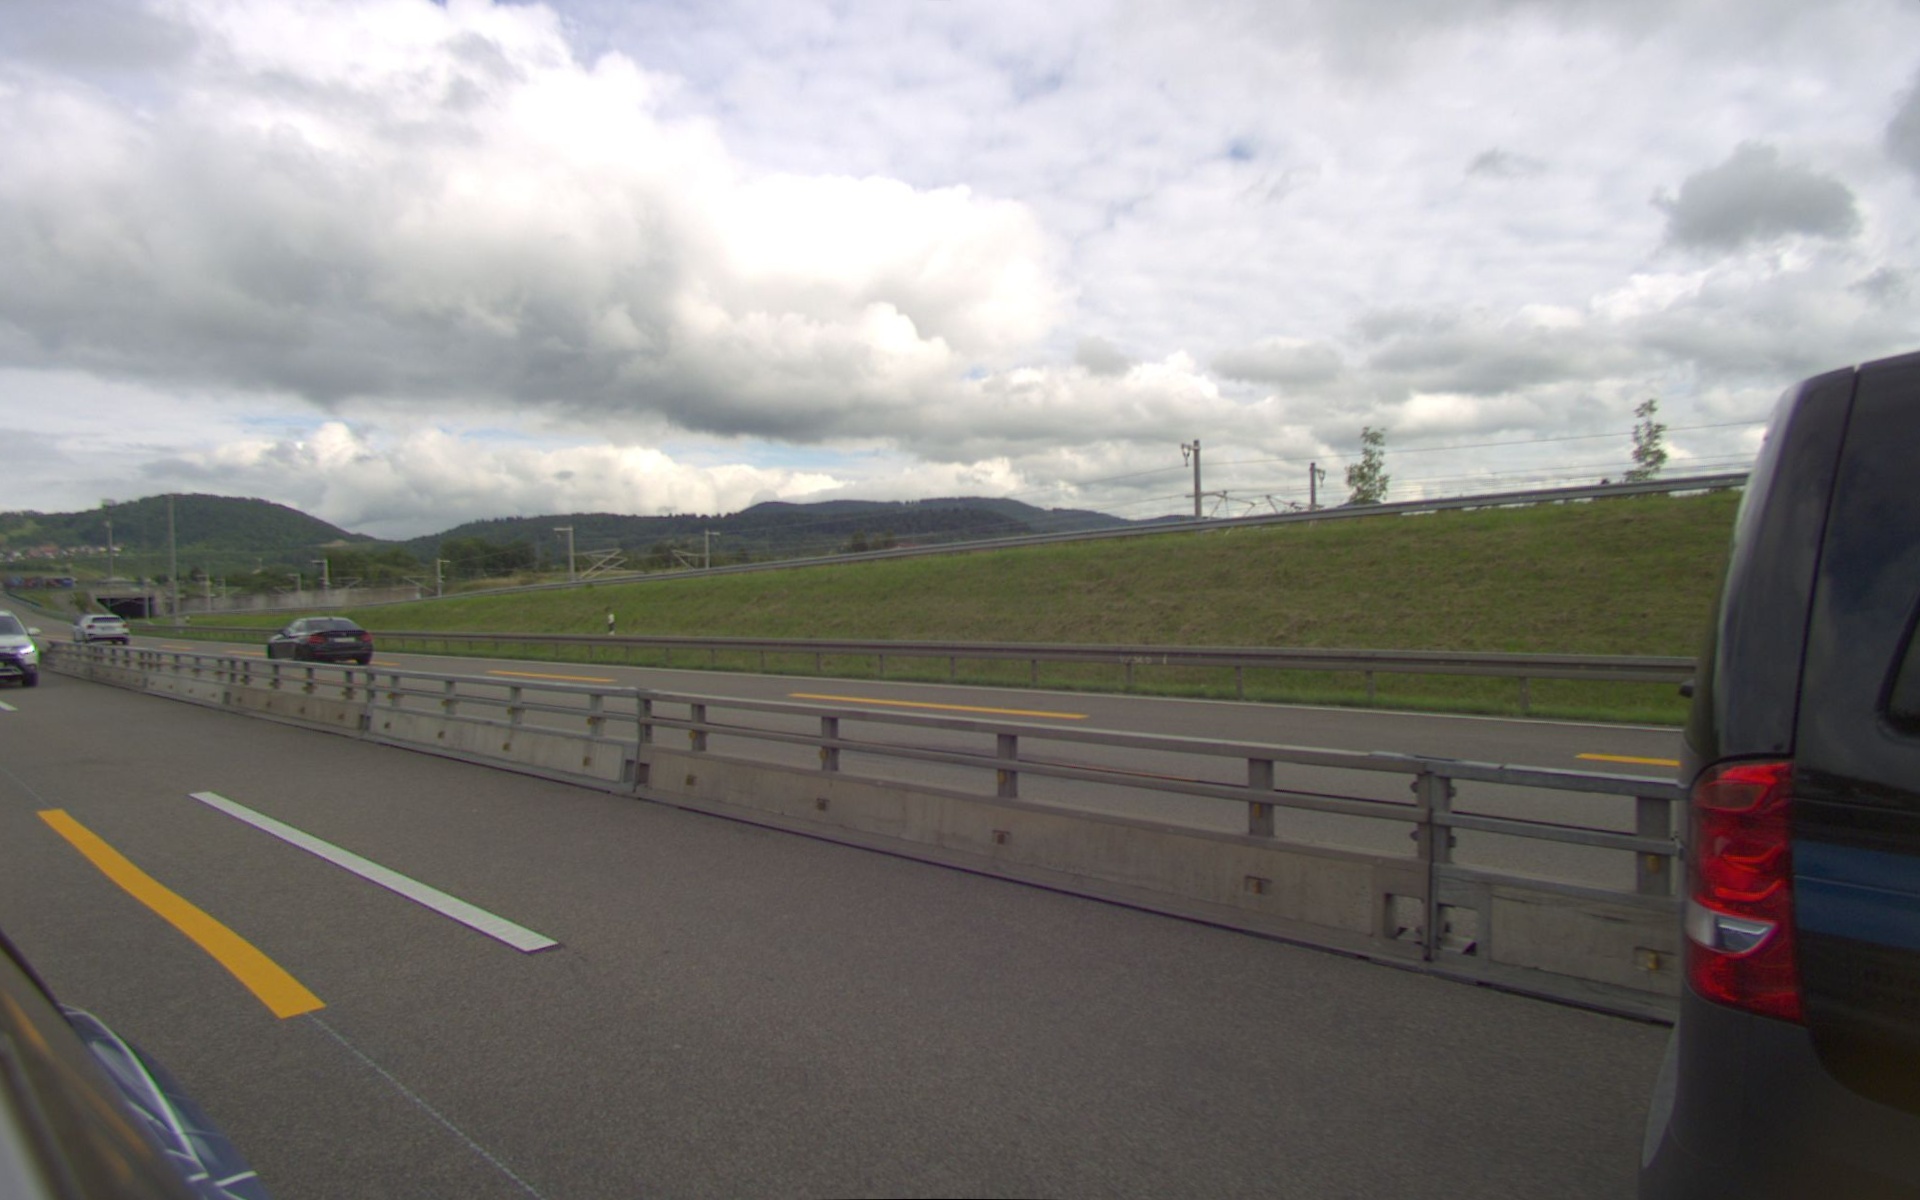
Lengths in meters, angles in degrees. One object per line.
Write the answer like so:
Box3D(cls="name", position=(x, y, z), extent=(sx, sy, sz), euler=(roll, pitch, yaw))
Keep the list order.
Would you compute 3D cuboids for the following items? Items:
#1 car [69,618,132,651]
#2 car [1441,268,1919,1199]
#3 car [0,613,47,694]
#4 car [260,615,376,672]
Box3D(cls="car", position=(-43.366, 1.718, 51.047), extent=(4.180, 1.537, 1.870), euler=(-1, -1, 41))
Box3D(cls="car", position=(3.523, 0.484, 0.502), extent=(5.606, 1.857, 1.973), euler=(-1, -1, 41))
Box3D(cls="car", position=(-21.528, 1.143, 22.058), extent=(4.606, 1.640, 1.972), euler=(-2, -1, 42))
Box3D(cls="car", position=(-18.651, 1.201, 29.341), extent=(4.134, 1.528, 1.769), euler=(-1, -1, 42))
